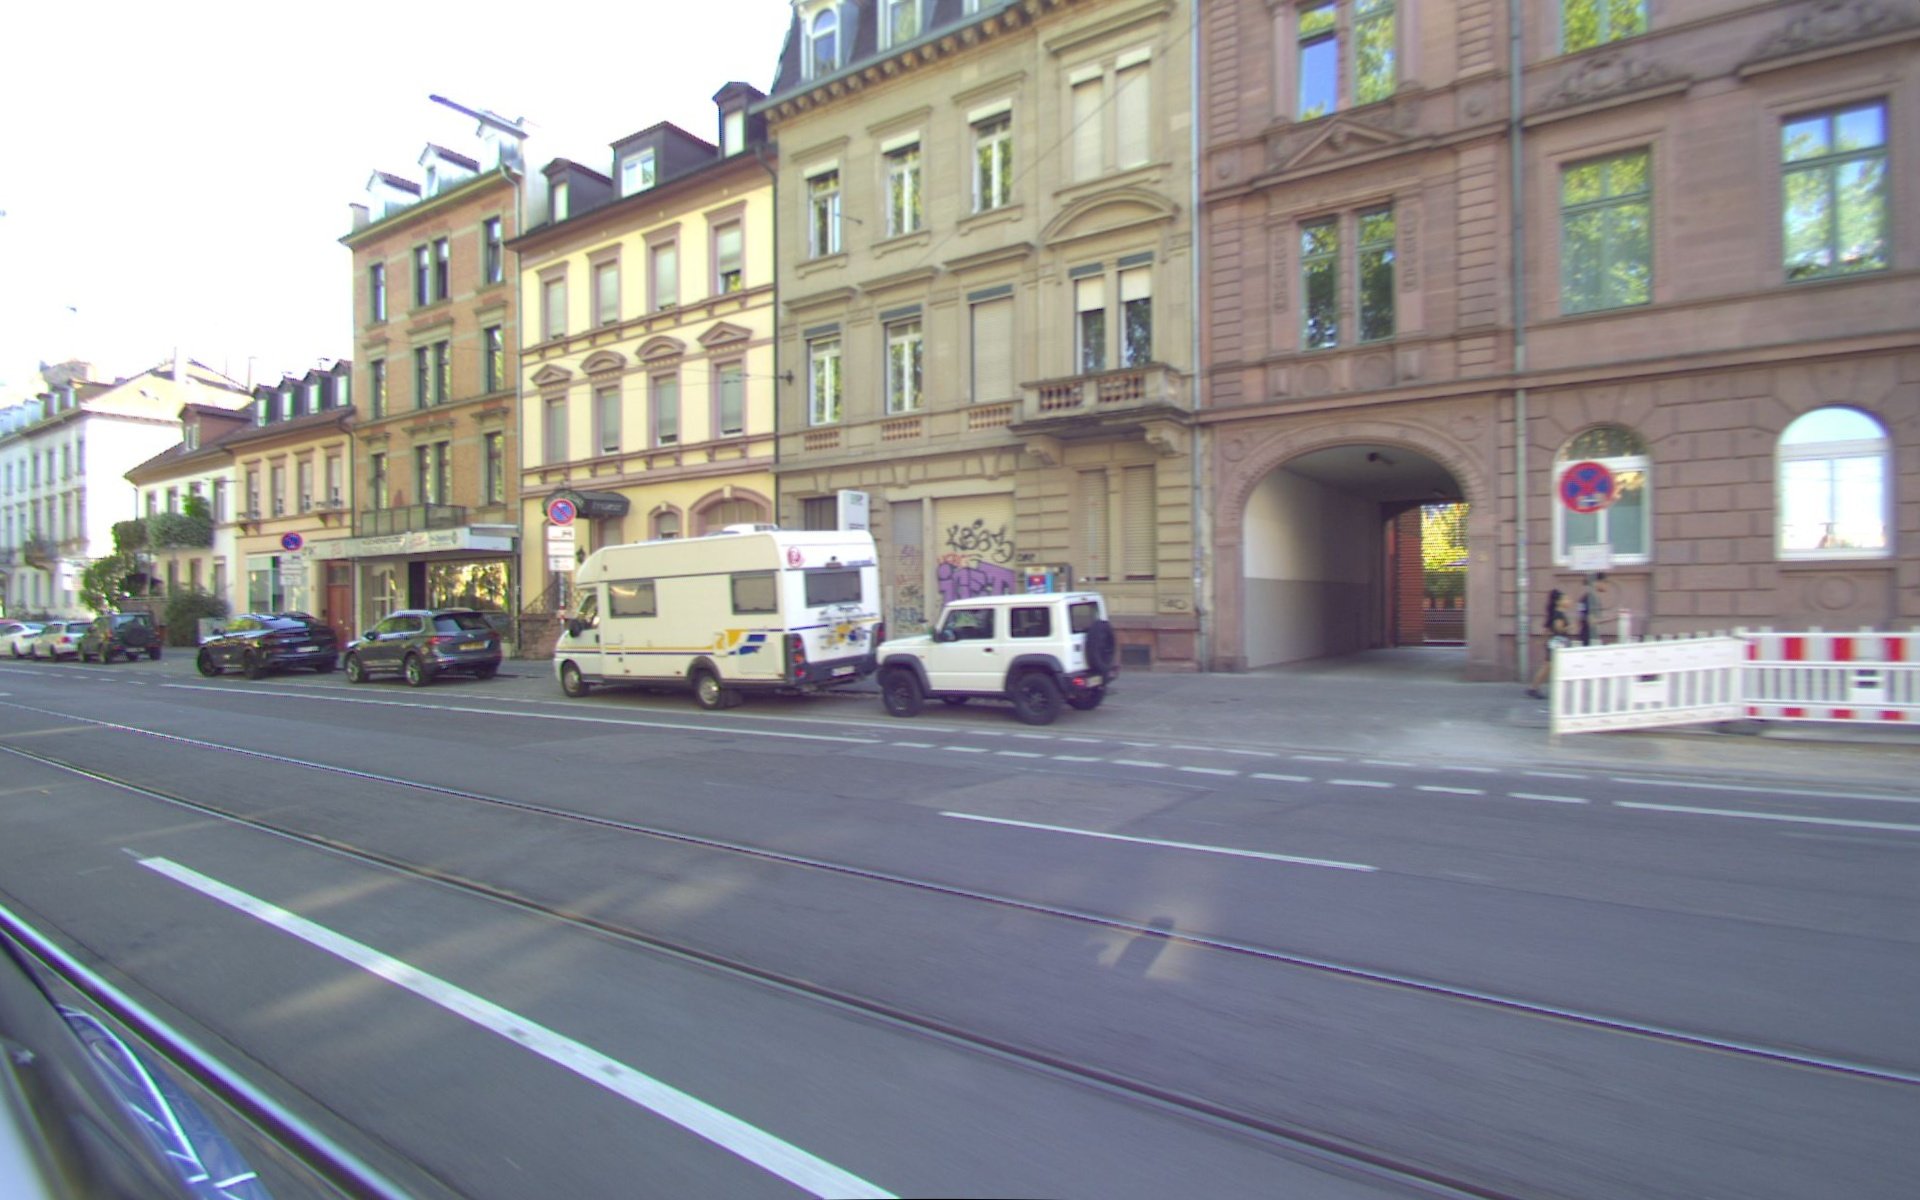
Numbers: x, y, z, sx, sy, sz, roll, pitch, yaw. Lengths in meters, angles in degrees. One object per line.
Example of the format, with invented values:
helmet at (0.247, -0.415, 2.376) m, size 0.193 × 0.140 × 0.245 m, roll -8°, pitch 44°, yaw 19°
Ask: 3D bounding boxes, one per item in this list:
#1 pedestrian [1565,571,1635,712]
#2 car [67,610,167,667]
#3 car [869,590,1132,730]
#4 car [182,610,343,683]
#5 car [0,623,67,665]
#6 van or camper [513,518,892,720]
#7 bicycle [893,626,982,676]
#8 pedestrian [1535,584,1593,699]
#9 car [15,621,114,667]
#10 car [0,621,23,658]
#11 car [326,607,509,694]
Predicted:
pedestrian at (7.860, 0.490, 12.436) m, size 0.686 × 1.666 × 0.563 m, roll -1°, pitch 1°, yaw 34°
car at (-28.819, 1.283, 34.587) m, size 3.618 × 1.759 × 1.709 m, roll -1°, pitch 2°, yaw 36°
car at (0.547, 0.783, 14.442) m, size 3.360 × 1.718 × 1.618 m, roll -1°, pitch 2°, yaw 32°
car at (-19.020, 1.215, 27.539) m, size 4.738 × 1.715 × 1.977 m, roll -1°, pitch 3°, yaw 34°
car at (-37.010, 1.693, 39.967) m, size 4.459 × 1.502 × 1.569 m, roll -1°, pitch 1°, yaw 35°
van or camper at (-4.786, 0.263, 17.967) m, size 7.237 × 2.968 × 2.398 m, roll -1°, pitch 3°, yaw 37°
bicycle at (-0.456, 0.980, 19.908) m, size 1.789 × 0.931 × 0.573 m, roll -1°, pitch -1°, yaw 38°
pedestrian at (7.993, 0.531, 13.397) m, size 0.606 × 1.472 × 0.571 m, roll -1°, pitch 1°, yaw 34°
car at (-32.541, 1.572, 36.759) m, size 4.393 × 1.465 × 1.650 m, roll -1°, pitch 2°, yaw 35°
car at (-41.339, 1.702, 43.197) m, size 3.321 × 1.522 × 1.405 m, roll -1°, pitch 1°, yaw 38°
car at (-12.523, 1.098, 23.279) m, size 4.432 × 1.718 × 1.796 m, roll -1°, pitch 3°, yaw 34°
